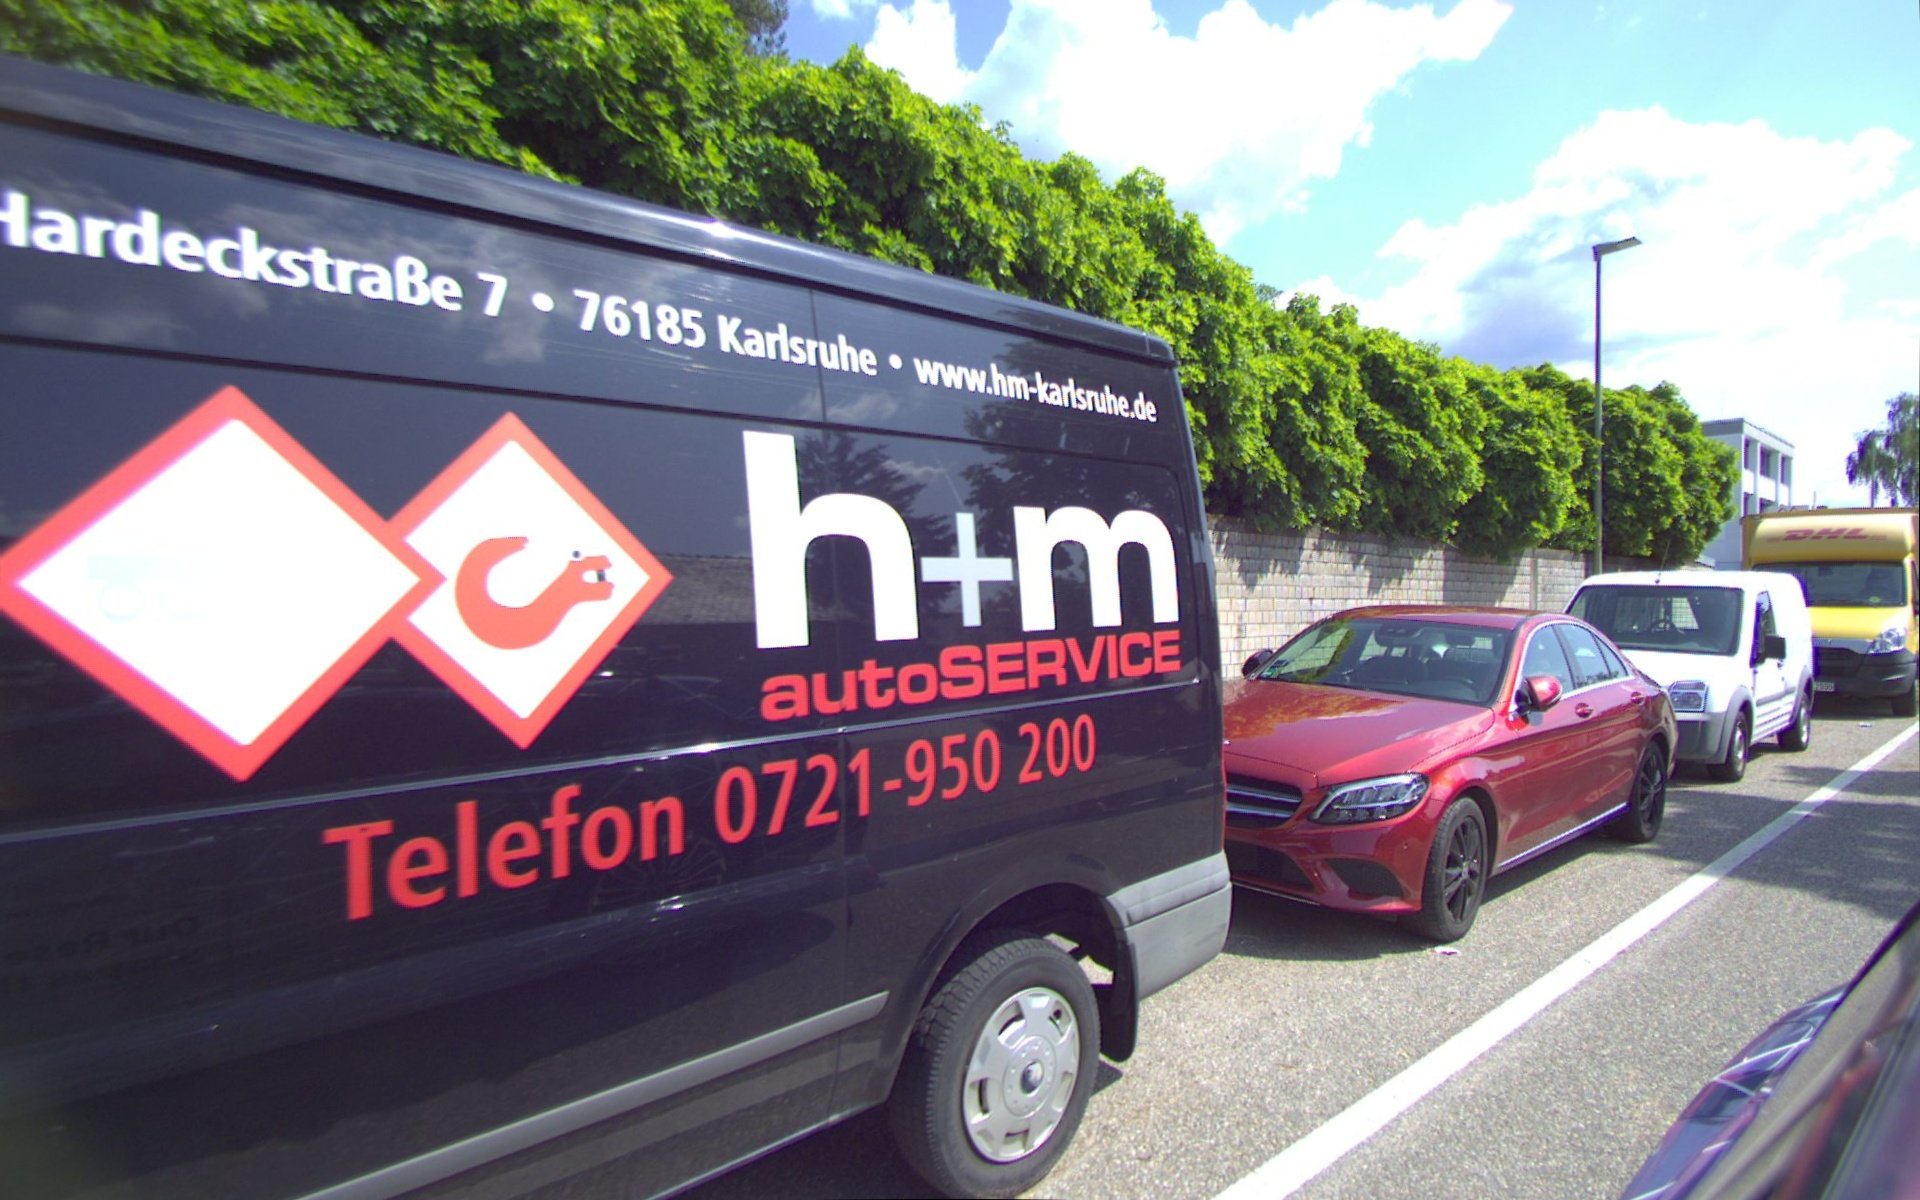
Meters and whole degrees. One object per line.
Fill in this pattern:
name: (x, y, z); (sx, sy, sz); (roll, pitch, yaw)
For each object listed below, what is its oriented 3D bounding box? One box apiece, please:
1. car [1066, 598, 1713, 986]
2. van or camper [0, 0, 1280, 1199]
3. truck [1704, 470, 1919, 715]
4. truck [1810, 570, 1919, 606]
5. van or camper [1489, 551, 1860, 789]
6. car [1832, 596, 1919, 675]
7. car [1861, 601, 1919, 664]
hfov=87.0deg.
car: (2.848, 0.725, 6.036); (4.683, 1.460, 1.684); (0, 0, -41)
van or camper: (-1.705, 0.306, 2.069); (5.352, 2.320, 1.996); (0, -1, -41)
truck: (13.714, -0.096, 15.400); (7.065, 2.977, 2.477); (0, -1, -42)
truck: (66.874, -0.880, 74.551); (5.992, 2.610, 2.546); (0, 0, 24)
van or camper: (7.434, 0.526, 10.246); (5.488, 1.828, 1.762); (0, 0, -40)
car: (19.145, 0.657, 20.583); (4.210, 1.459, 1.664); (0, -1, -43)
car: (22.984, 0.728, 24.133); (4.345, 1.404, 1.654); (0, 0, -41)
